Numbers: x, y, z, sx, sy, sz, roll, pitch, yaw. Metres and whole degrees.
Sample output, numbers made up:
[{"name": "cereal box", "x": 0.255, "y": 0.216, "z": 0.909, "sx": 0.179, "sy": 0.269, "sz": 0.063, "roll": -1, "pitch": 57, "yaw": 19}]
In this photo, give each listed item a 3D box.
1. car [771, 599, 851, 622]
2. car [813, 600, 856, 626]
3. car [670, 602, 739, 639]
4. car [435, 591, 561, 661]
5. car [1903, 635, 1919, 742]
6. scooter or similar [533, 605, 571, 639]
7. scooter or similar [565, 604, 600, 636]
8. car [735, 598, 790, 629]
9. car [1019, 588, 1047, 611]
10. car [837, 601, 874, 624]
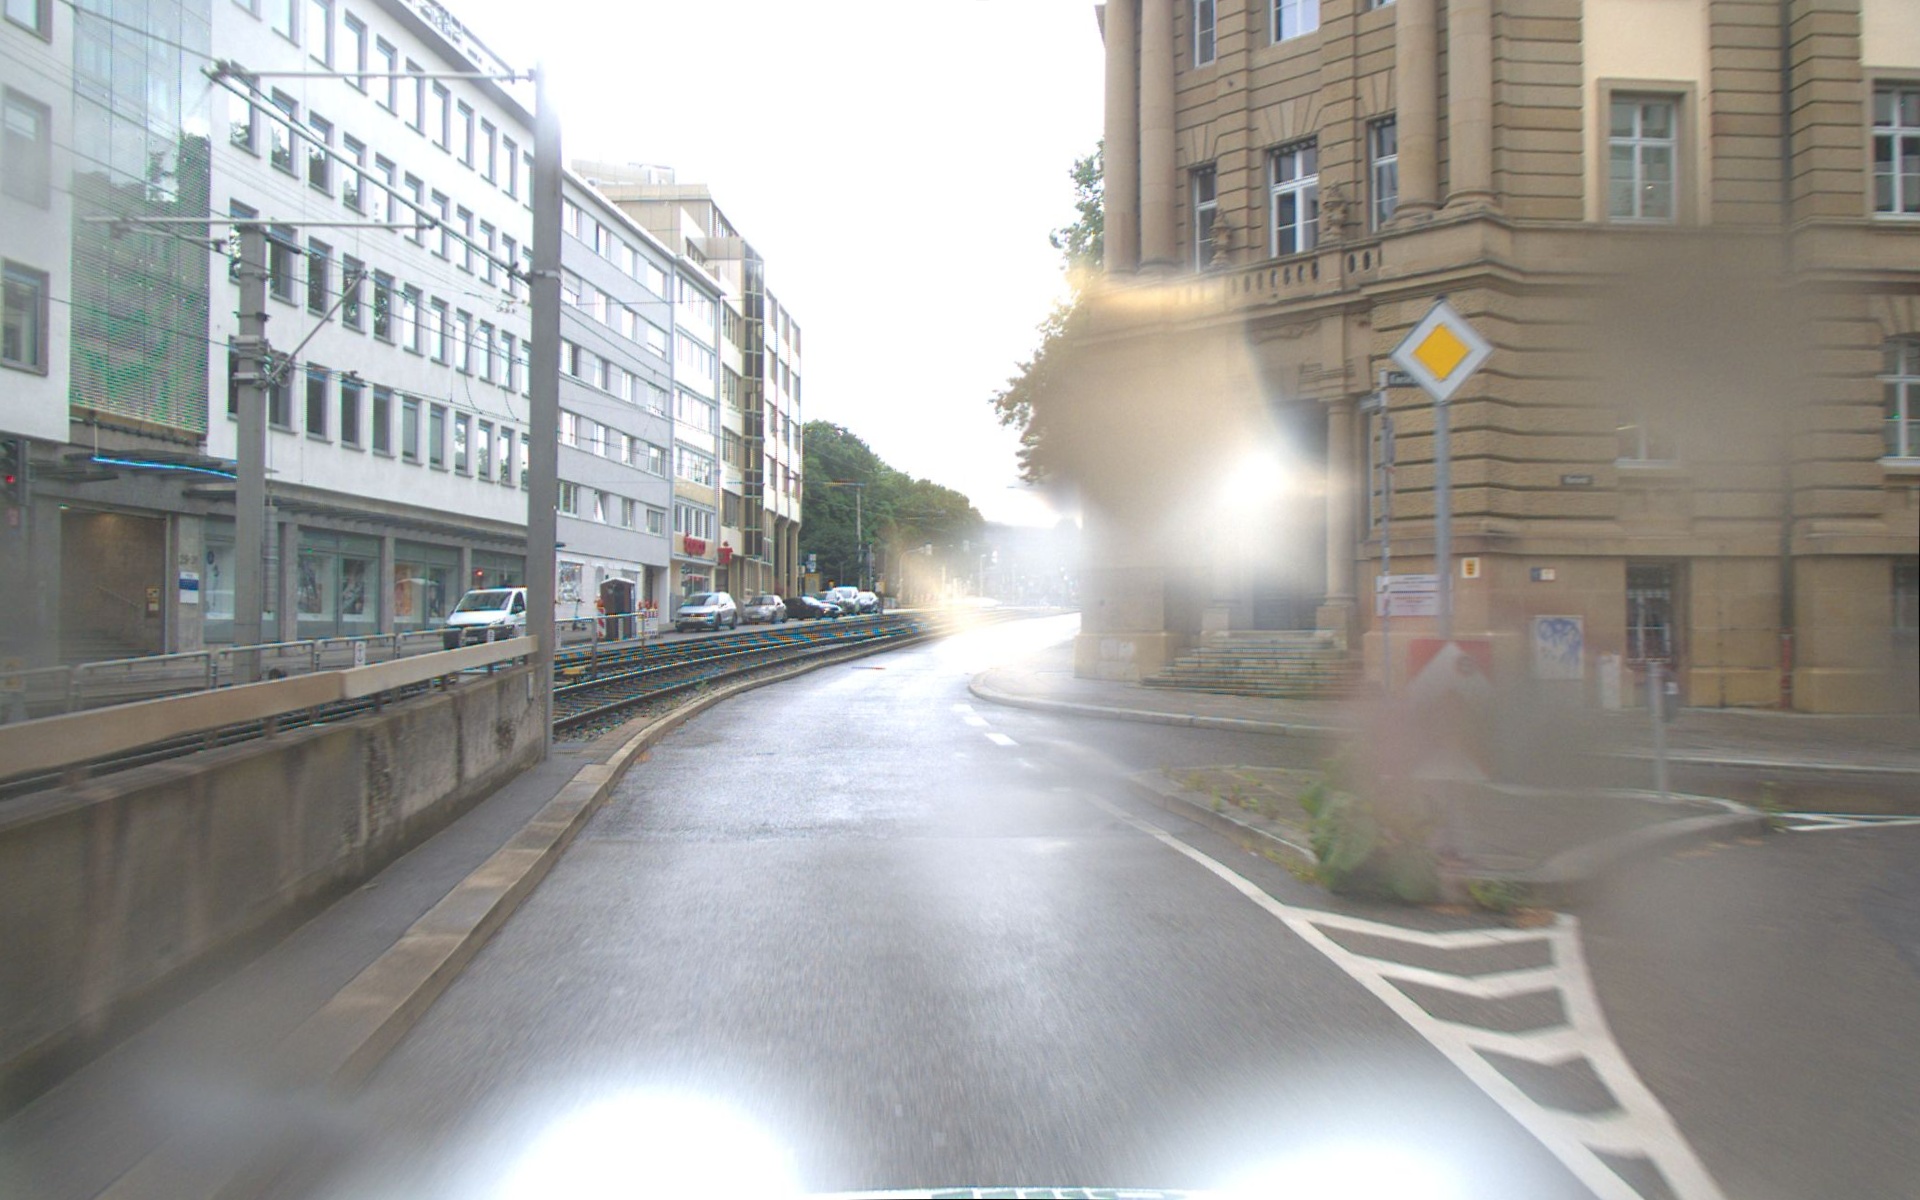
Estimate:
[{"name": "car", "x": -8.258, "y": 0.588, "z": 91.342, "sx": 4.229, "sy": 1.184, "sz": 1.990, "roll": 1, "pitch": 0, "yaw": 39}, {"name": "car", "x": -7.505, "y": 0.801, "z": 99.142, "sx": 1.951, "sy": 1.482, "sz": 4.313, "roll": 1, "pitch": 0, "yaw": 4}, {"name": "car", "x": -10.909, "y": 0.872, "z": 70.981, "sx": 1.951, "sy": 1.482, "sz": 4.313, "roll": 1, "pitch": 0, "yaw": 4}, {"name": "car", "x": -13.450, "y": 0.730, "z": 48.471, "sx": 1.951, "sy": 1.916, "sz": 4.929, "roll": 1, "pitch": 0, "yaw": 4}, {"name": "car", "x": 13.607, "y": 1.169, "z": 19.526, "sx": 1.701, "sy": 1.391, "sz": 4.995, "roll": 1, "pitch": 0, "yaw": -6}, {"name": "scooter or similar", "x": -15.202, "y": 0.816, "z": 61.629, "sx": 0.748, "sy": 1.241, "sz": 2.066, "roll": 1, "pitch": 0, "yaw": 4}, {"name": "scooter or similar", "x": -14.987, "y": 0.800, "z": 65.738, "sx": 0.748, "sy": 1.241, "sz": 2.066, "roll": 1, "pitch": 0, "yaw": 4}, {"name": "car", "x": -9.903, "y": 0.673, "z": 83.177, "sx": 1.951, "sy": 1.482, "sz": 4.313, "roll": 1, "pitch": 0, "yaw": 4}, {"name": "car", "x": 5.576, "y": -0.048, "z": 125.228, "sx": 1.951, "sy": 1.691, "sz": 4.002, "roll": 1, "pitch": 0, "yaw": 4}, {"name": "car", "x": -7.044, "y": 0.838, "z": 111.828, "sx": 1.951, "sy": 1.482, "sz": 4.313, "roll": 1, "pitch": 0, "yaw": 4}]
